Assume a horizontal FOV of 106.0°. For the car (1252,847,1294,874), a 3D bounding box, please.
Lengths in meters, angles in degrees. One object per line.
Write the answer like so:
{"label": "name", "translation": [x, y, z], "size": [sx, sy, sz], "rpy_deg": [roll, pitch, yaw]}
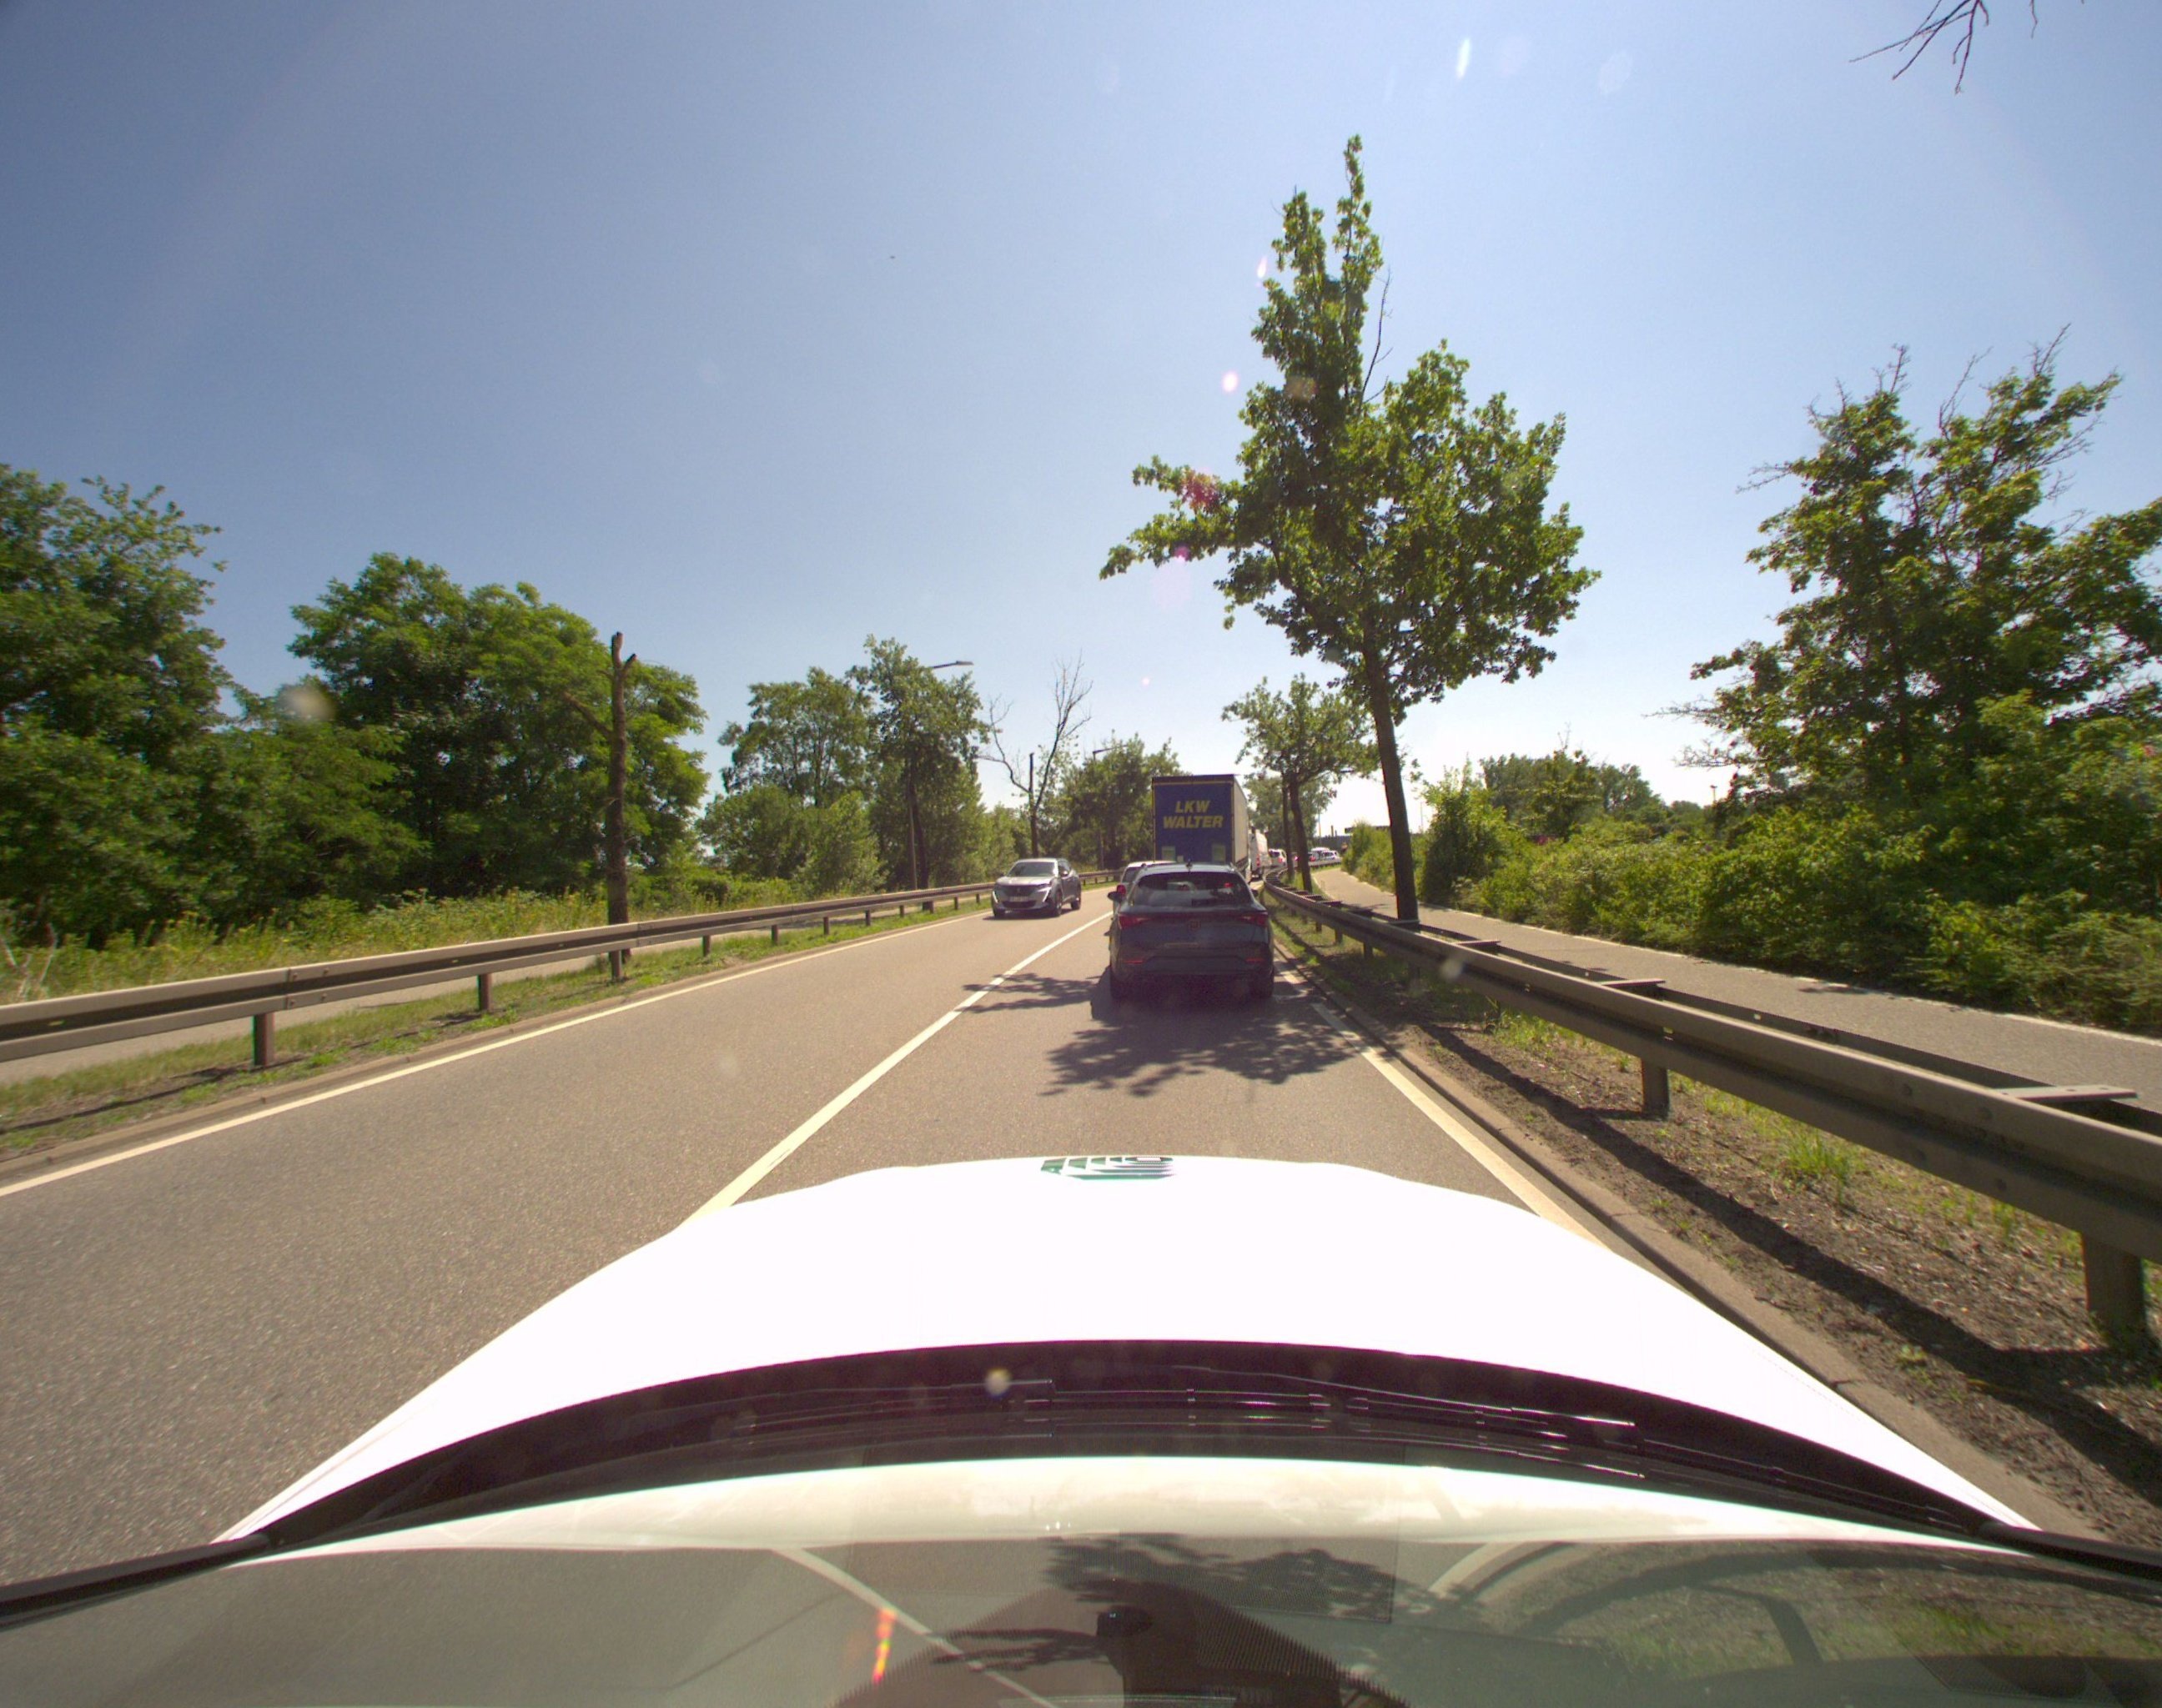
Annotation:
{"label": "car", "translation": [12.903, 0.446, 54.505], "size": [1.976, 1.712, 4.645], "rpy_deg": [-1, 0, 23]}

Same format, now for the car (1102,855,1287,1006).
{"label": "car", "translation": [1.213, 0.743, 9.743], "size": [1.736, 1.432, 3.884], "rpy_deg": [-1, 0, 4]}

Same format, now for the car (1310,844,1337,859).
{"label": "car", "translation": [25.215, -0.264, 84.658], "size": [1.733, 1.555, 4.152], "rpy_deg": [-1, 0, 29]}

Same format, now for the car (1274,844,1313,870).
{"label": "car", "translation": [15.923, 0.206, 60.851], "size": [1.975, 1.808, 4.873], "rpy_deg": [-1, 0, 24]}

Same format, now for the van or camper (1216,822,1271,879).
{"label": "van or camper", "translation": [9.386, -0.164, 46.640], "size": [2.447, 2.998, 6.113], "rpy_deg": [-1, 0, 17]}

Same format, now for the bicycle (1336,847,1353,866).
{"label": "bicycle", "translation": [18.217, 0.159, 56.263], "size": [0.853, 1.237, 2.322], "rpy_deg": [-1, 0, 23]}

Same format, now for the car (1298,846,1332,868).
{"label": "car", "translation": [19.382, 0.217, 67.369], "size": [1.975, 1.717, 4.896], "rpy_deg": [-1, 0, 24]}

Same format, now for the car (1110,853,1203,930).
{"label": "car", "translation": [1.650, 0.751, 18.108], "size": [1.801, 1.508, 4.005], "rpy_deg": [-1, 0, 4]}

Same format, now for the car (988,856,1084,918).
{"label": "car", "translation": [-1.147, 0.847, 22.705], "size": [1.738, 1.555, 4.138], "rpy_deg": [-1, 0, 10]}

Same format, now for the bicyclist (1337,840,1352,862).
{"label": "bicyclist", "translation": [18.194, -0.216, 56.248], "size": [0.853, 1.523, 0.985], "rpy_deg": [-1, -1, 23]}

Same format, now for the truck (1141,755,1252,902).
{"label": "truck", "translation": [5.258, -0.732, 33.213], "size": [2.929, 4.449, 16.858], "rpy_deg": [-1, 0, 13]}

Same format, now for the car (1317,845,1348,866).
{"label": "car", "translation": [22.814, 0.127, 73.816], "size": [1.975, 1.768, 4.782], "rpy_deg": [-1, 0, 26]}
